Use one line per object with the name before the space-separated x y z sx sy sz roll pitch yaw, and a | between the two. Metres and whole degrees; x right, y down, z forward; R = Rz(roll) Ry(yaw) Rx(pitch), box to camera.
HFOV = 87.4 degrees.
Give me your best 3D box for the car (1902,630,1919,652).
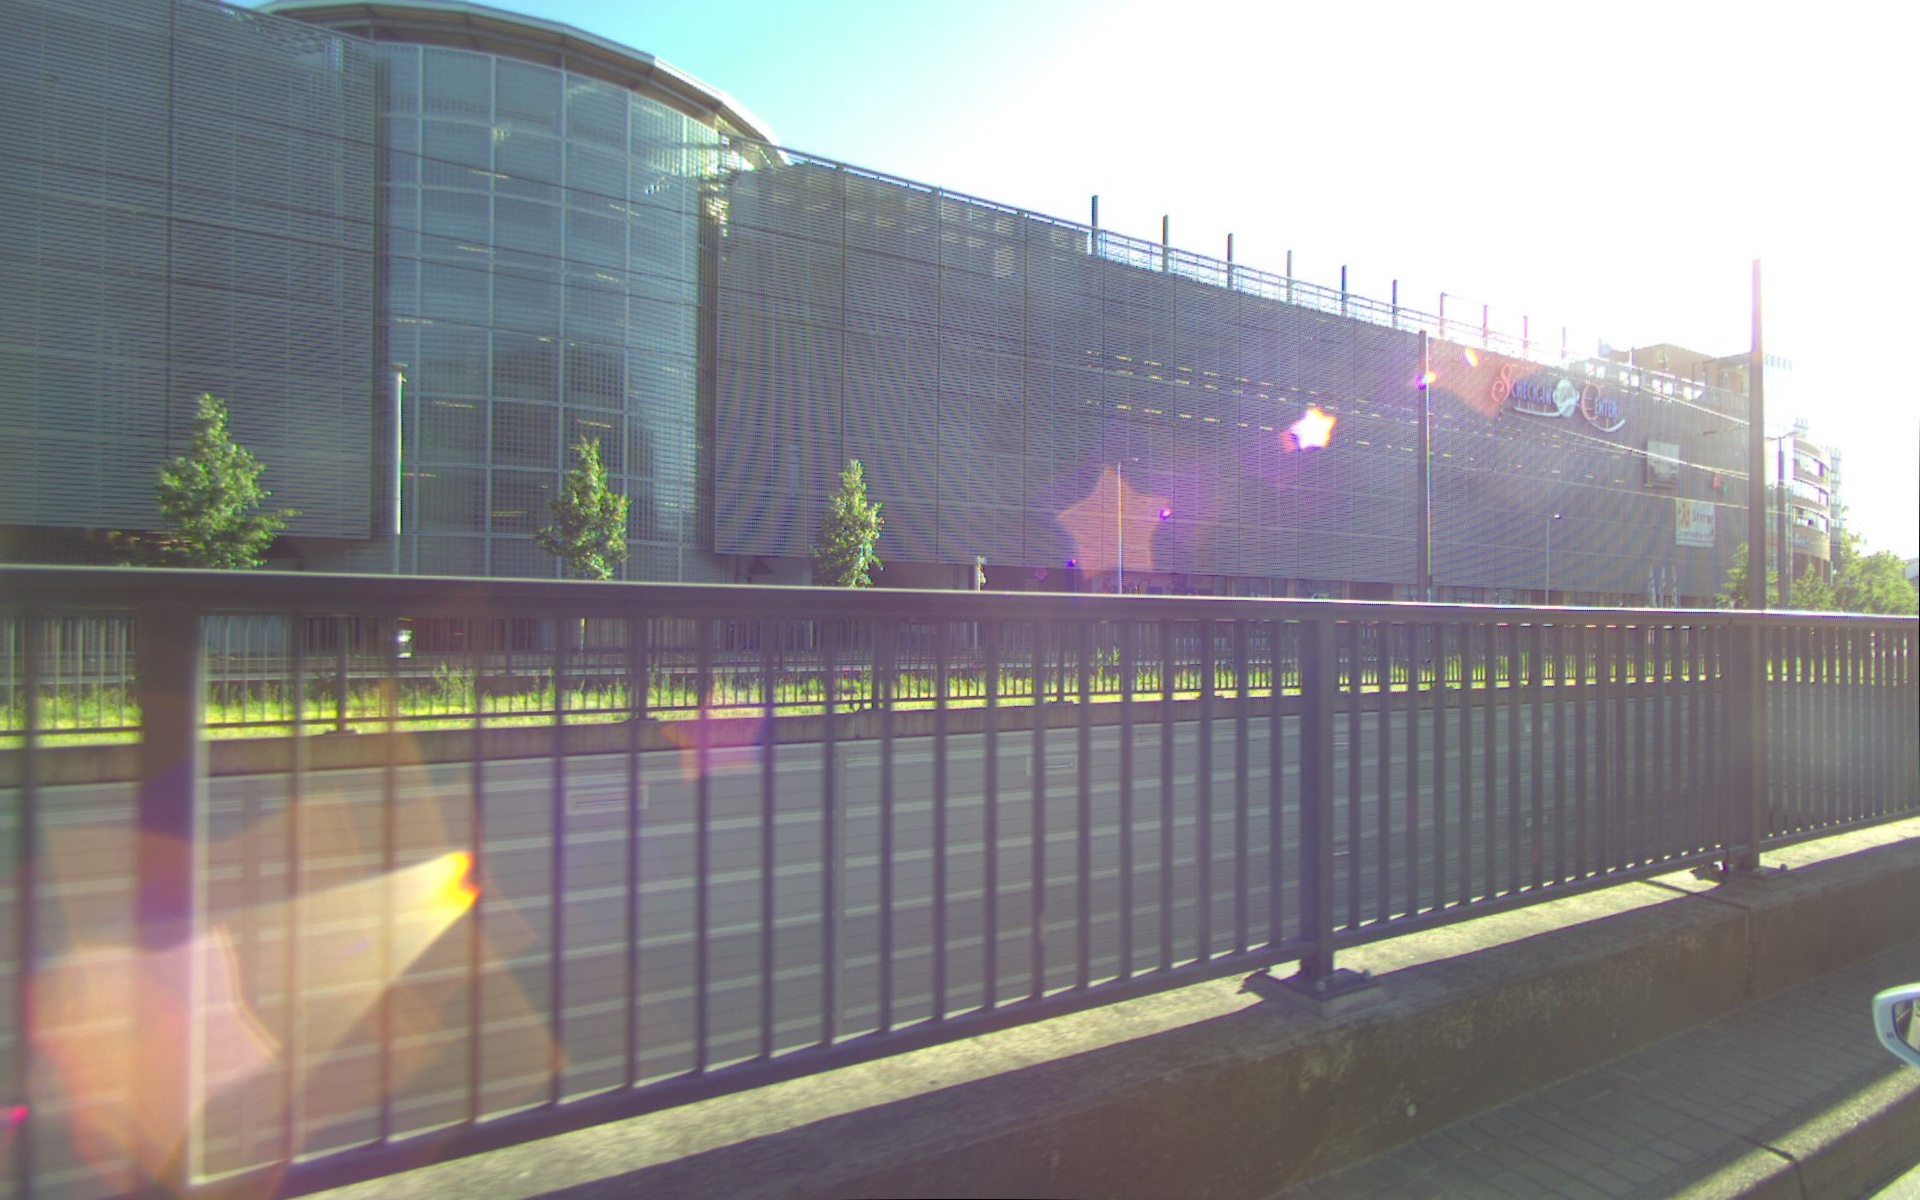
car | 75.736 3.197 78.507 3.953 1.739 1.984 1 -3 -30
